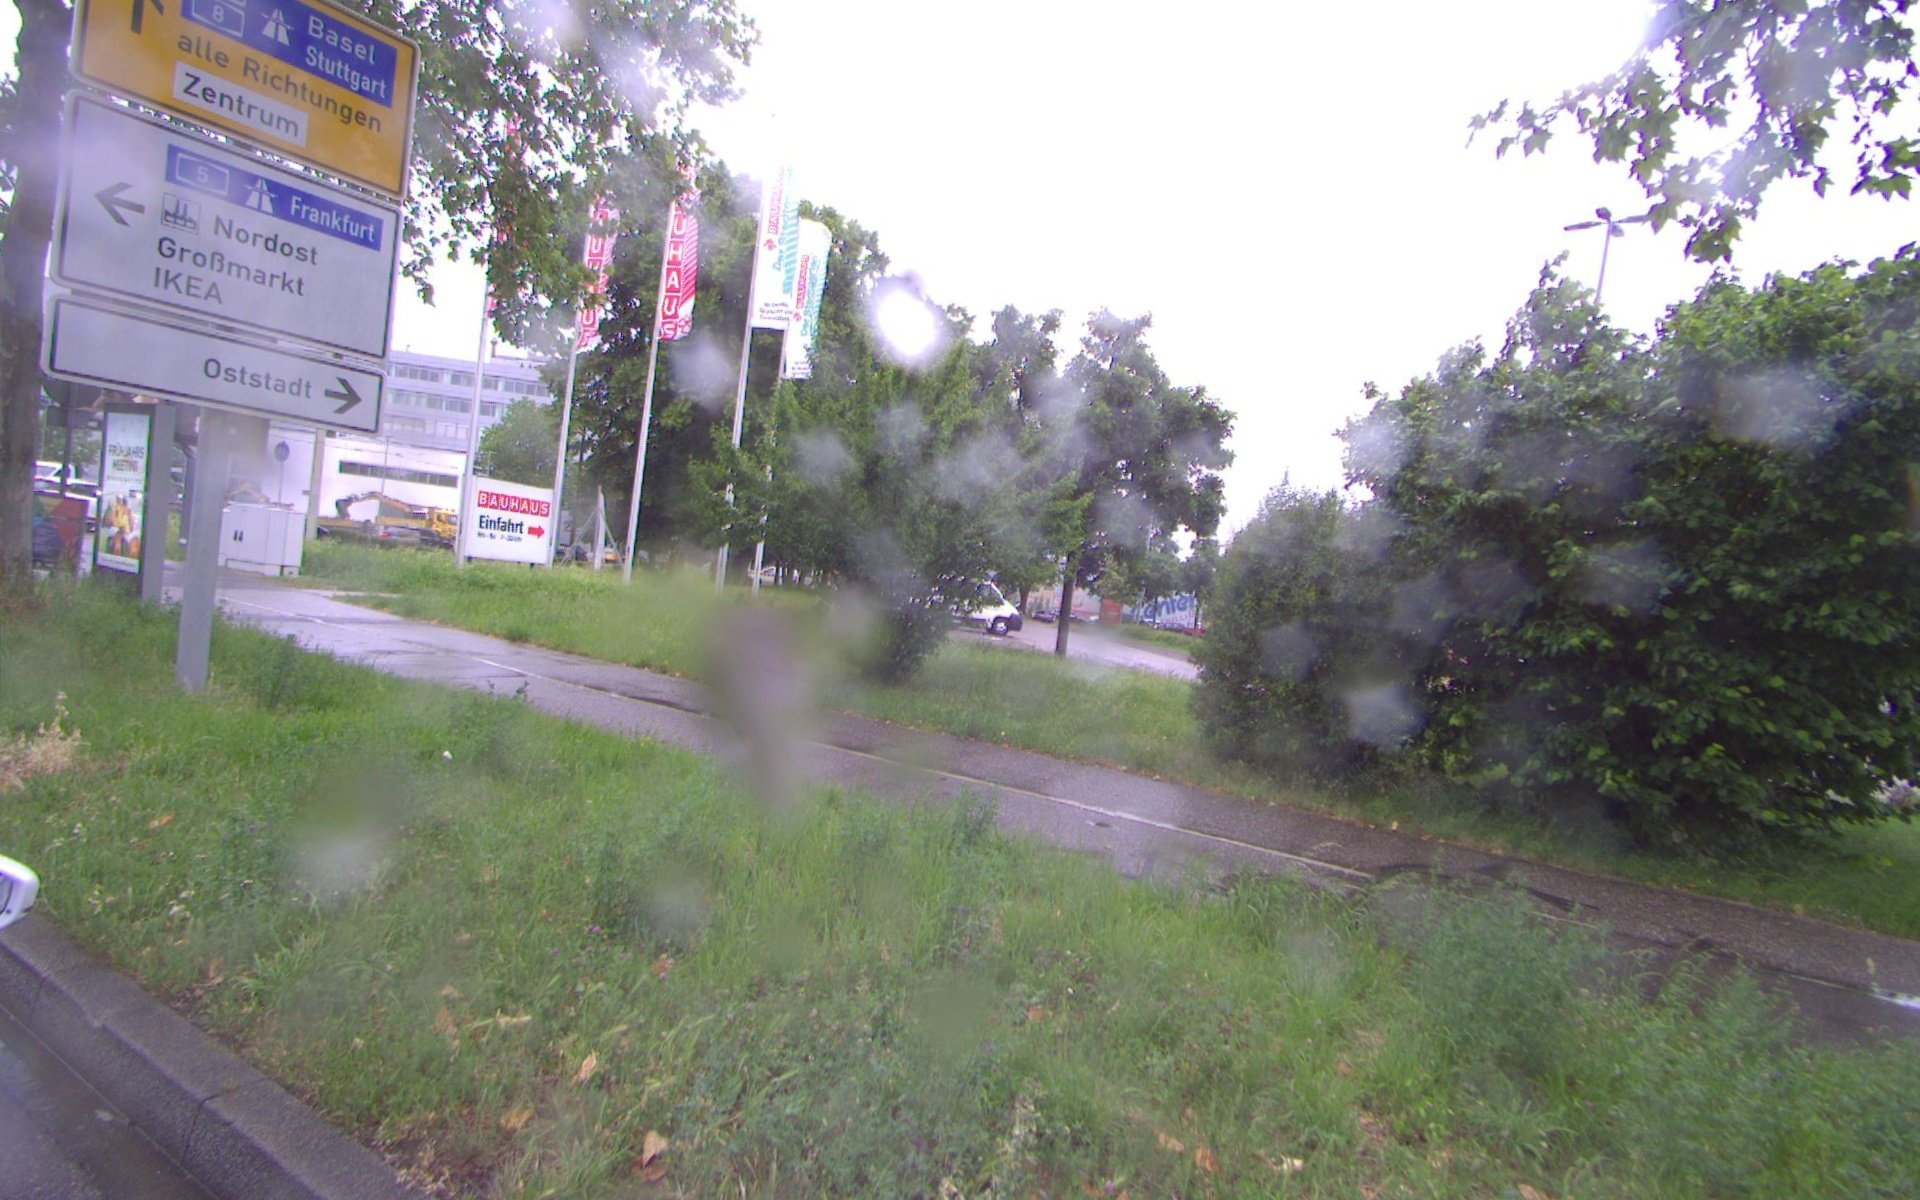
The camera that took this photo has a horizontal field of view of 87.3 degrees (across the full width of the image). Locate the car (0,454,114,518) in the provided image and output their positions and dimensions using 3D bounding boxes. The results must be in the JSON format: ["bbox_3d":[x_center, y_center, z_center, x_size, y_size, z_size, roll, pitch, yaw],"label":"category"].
[{"bbox_3d":[-37.706,-4.686,41.588,1.769,2.220,4.380,6,2,-3],"label":"car"}]

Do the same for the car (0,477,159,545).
[{"bbox_3d":[-26.678,-2.649,30.078,1.962,1.540,4.063,7,0,3],"label":"car"}]

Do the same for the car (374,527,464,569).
[{"bbox_3d":[-26.677,-2.521,49.746,1.768,1.555,4.389,7,-1,3],"label":"car"}]

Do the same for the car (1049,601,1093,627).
[{"bbox_3d":[11.183,1.410,101.368,4.085,2.037,2.001,7,-1,1],"label":"car"}]

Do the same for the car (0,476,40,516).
[{"bbox_3d":[-41.569,-4.594,42.493,1.770,1.556,3.997,7,0,-3],"label":"car"}]

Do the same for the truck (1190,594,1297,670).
[{"bbox_3d":[16.722,1.796,60.160,2.950,3.857,8.951,7,0,-4],"label":"truck"}]

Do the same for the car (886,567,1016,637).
[{"bbox_3d":[-0.402,0.070,40.673,4.833,2.180,1.803,7,0,-9],"label":"car"}]

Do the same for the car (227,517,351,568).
[{"bbox_3d":[-26.723,-2.238,40.259,1.768,1.556,4.387,7,0,3],"label":"car"}]

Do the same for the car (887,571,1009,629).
[{"bbox_3d":[-0.752,-0.010,57.970,6.702,2.464,2.327,7,0,-4],"label":"car"}]

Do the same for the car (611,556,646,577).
[{"bbox_3d":[-30.030,-3.034,91.242,1.769,1.556,4.384,7,0,-4],"label":"car"}]

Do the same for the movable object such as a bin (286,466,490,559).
[{"bbox_3d":[-55.797,-8.369,98.978,14.695,6.356,8.270,7,-1,-2],"label":"movable object such as a bin"}]

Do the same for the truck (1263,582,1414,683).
[{"bbox_3d":[17.028,1.368,46.087,2.950,3.857,8.283,7,0,-4],"label":"truck"}]
